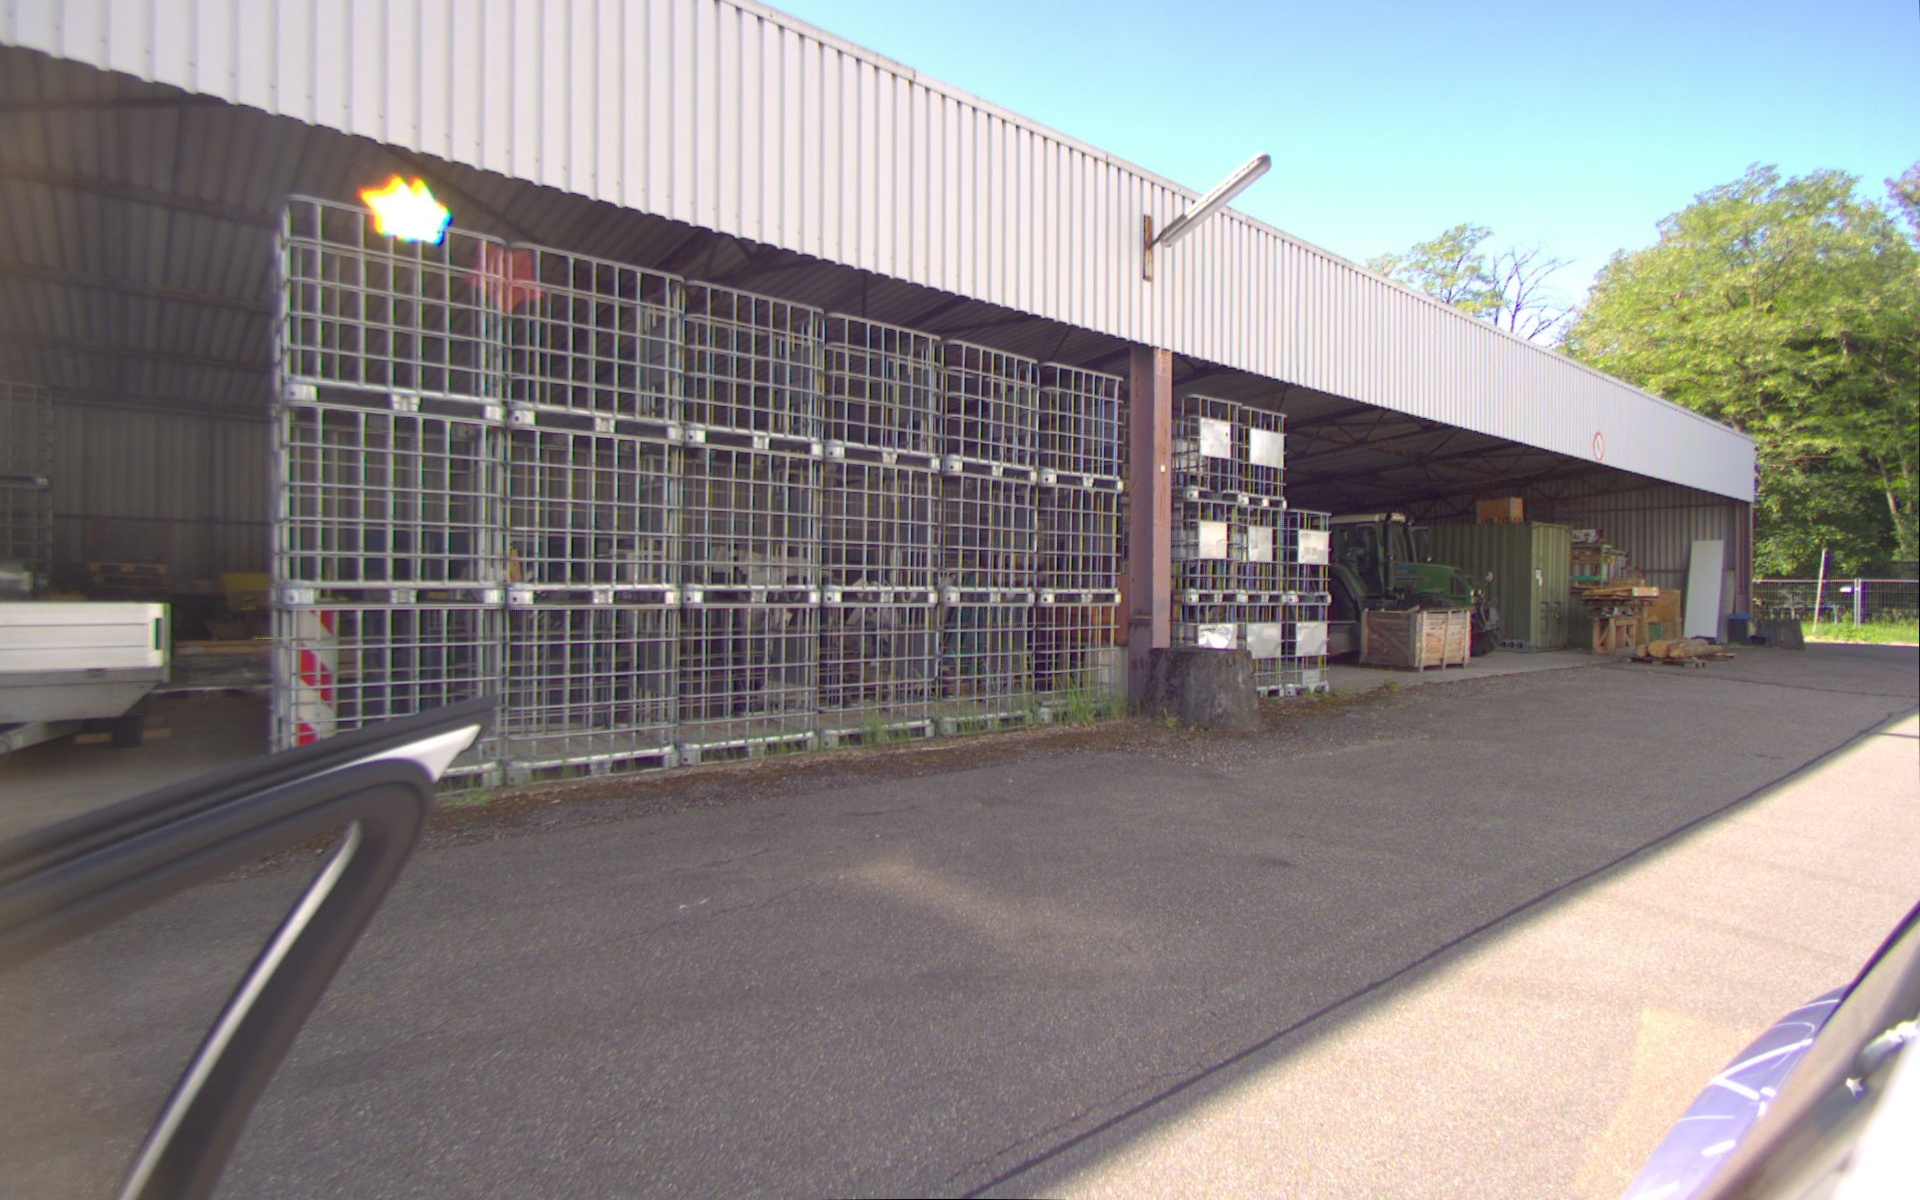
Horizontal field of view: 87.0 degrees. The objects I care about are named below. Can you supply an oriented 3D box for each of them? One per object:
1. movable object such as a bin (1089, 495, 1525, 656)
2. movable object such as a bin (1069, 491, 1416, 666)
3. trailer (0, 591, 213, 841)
[{"bbox_3d":[7.374,-0.492,23.138,3.154,2.947,9.213,0,0,-39],"label":"movable object such as a bin"},{"bbox_3d":[5.437,-0.402,20.390,2.962,2.947,6.199,0,0,-39],"label":"movable object such as a bin"},{"bbox_3d":[-6.744,0.543,6.946,2.104,1.147,5.857,0,1,-41],"label":"trailer"}]
